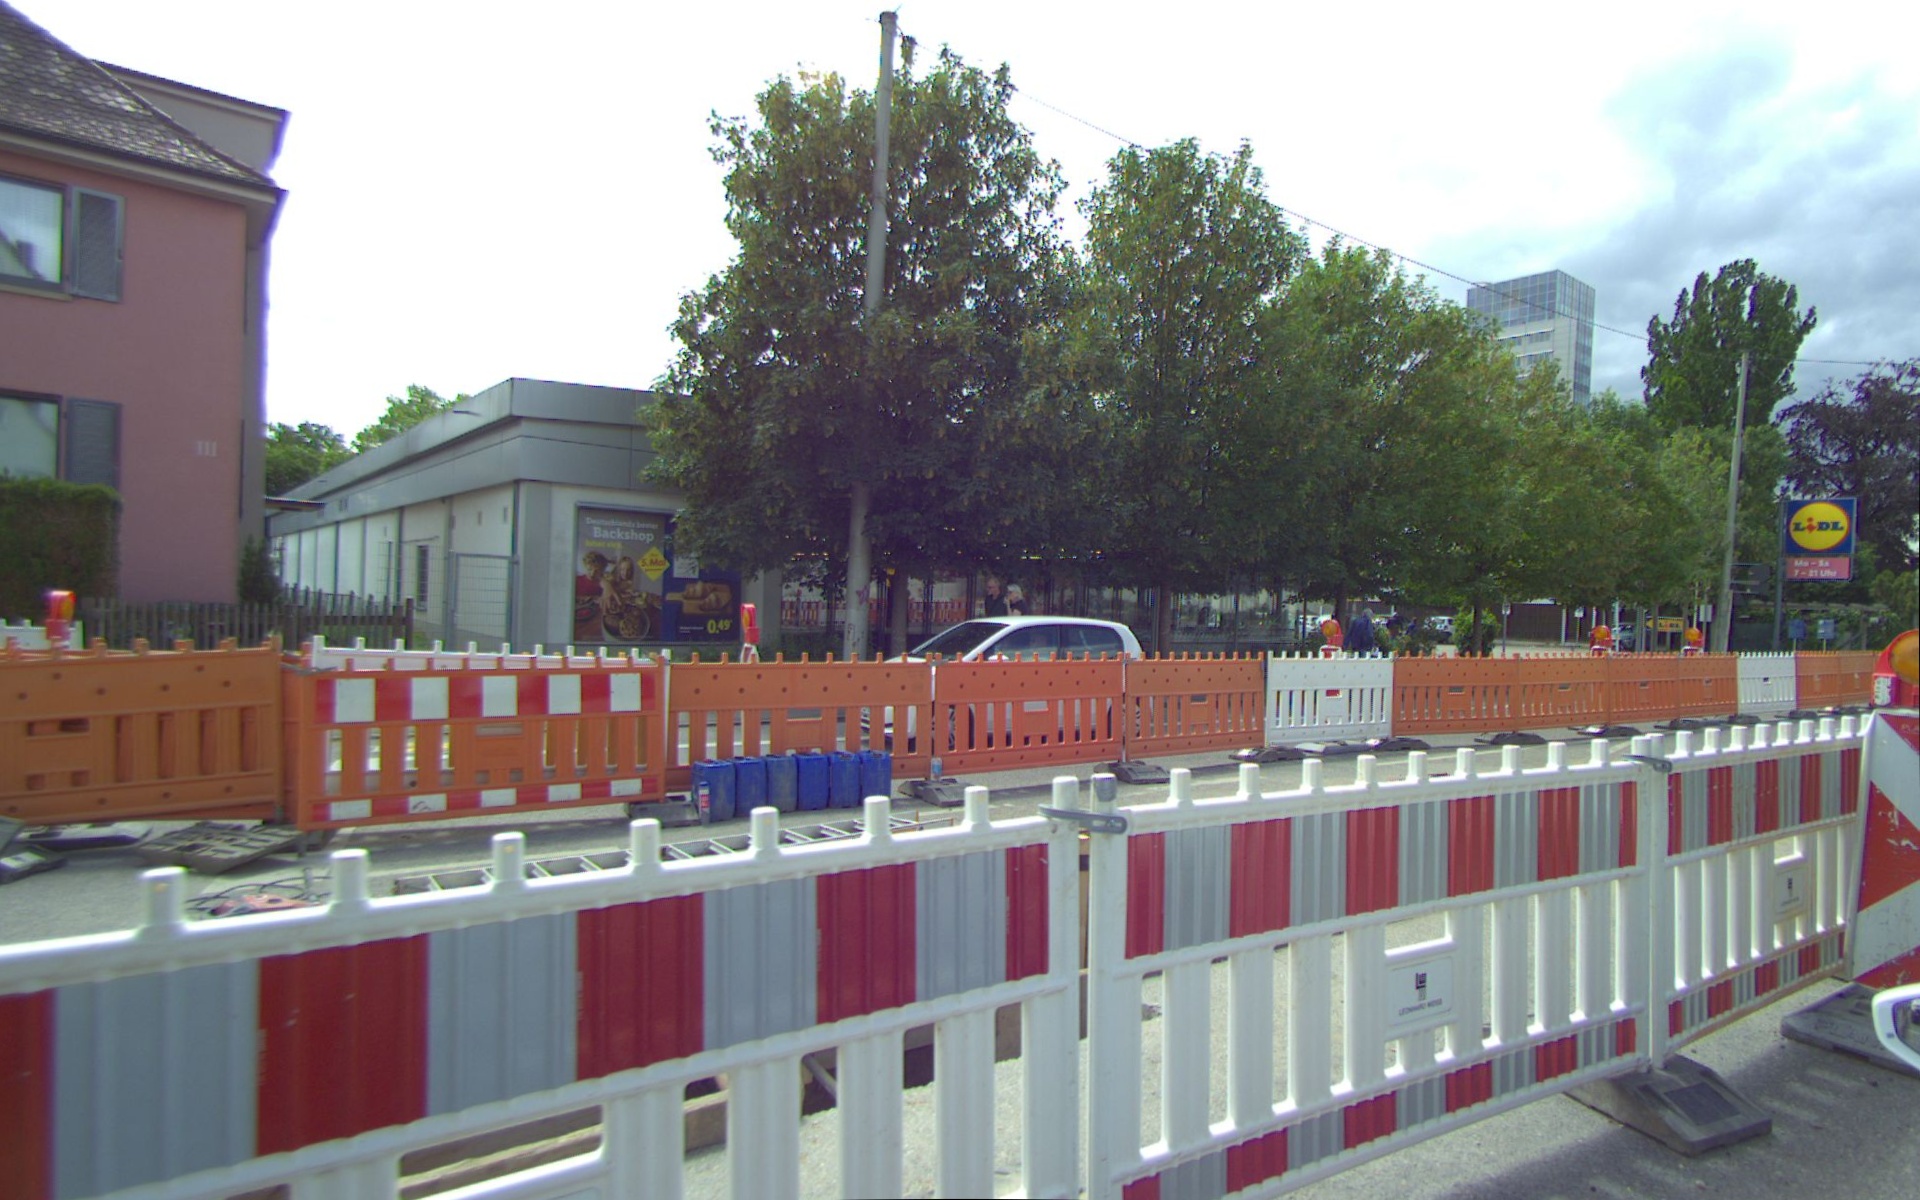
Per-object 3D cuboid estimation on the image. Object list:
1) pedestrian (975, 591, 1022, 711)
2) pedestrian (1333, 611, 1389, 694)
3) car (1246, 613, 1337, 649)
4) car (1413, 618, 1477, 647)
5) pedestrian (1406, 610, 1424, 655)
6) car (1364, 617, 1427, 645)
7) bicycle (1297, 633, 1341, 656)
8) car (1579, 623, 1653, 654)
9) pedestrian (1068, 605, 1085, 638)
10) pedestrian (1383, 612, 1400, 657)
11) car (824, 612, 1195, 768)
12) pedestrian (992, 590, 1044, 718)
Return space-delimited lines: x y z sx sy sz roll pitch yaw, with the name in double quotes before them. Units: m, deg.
"pedestrian" 0.611 0.798 16.065 0.611 1.871 0.626 1 0 -9
"pedestrian" 8.188 1.054 20.498 0.823 1.624 0.746 1 0 -40
"car" 15.958 1.491 48.289 4.633 1.593 1.978 2 -1 -39
"car" 28.304 1.872 58.565 3.970 1.572 1.976 2 -1 -42
"pedestrian" 19.134 1.354 42.235 0.607 1.884 0.417 1 0 -40
"car" 26.008 1.857 59.978 3.970 1.572 1.976 2 -1 -42
"bicycle" 16.153 1.997 45.199 1.846 0.970 0.349 1 0 9
"car" 33.411 1.947 51.158 3.964 1.472 1.978 2 -1 -38
"pedestrian" 5.786 1.063 49.872 0.602 1.638 0.500 2 0 -39
"pedestrian" 18.194 1.467 42.390 0.607 1.884 0.417 1 0 -40
"car" 0.622 0.945 11.707 3.955 1.472 1.844 2 1 -31
"pedestrian" 0.866 0.796 15.094 0.611 1.871 0.696 1 0 -9
